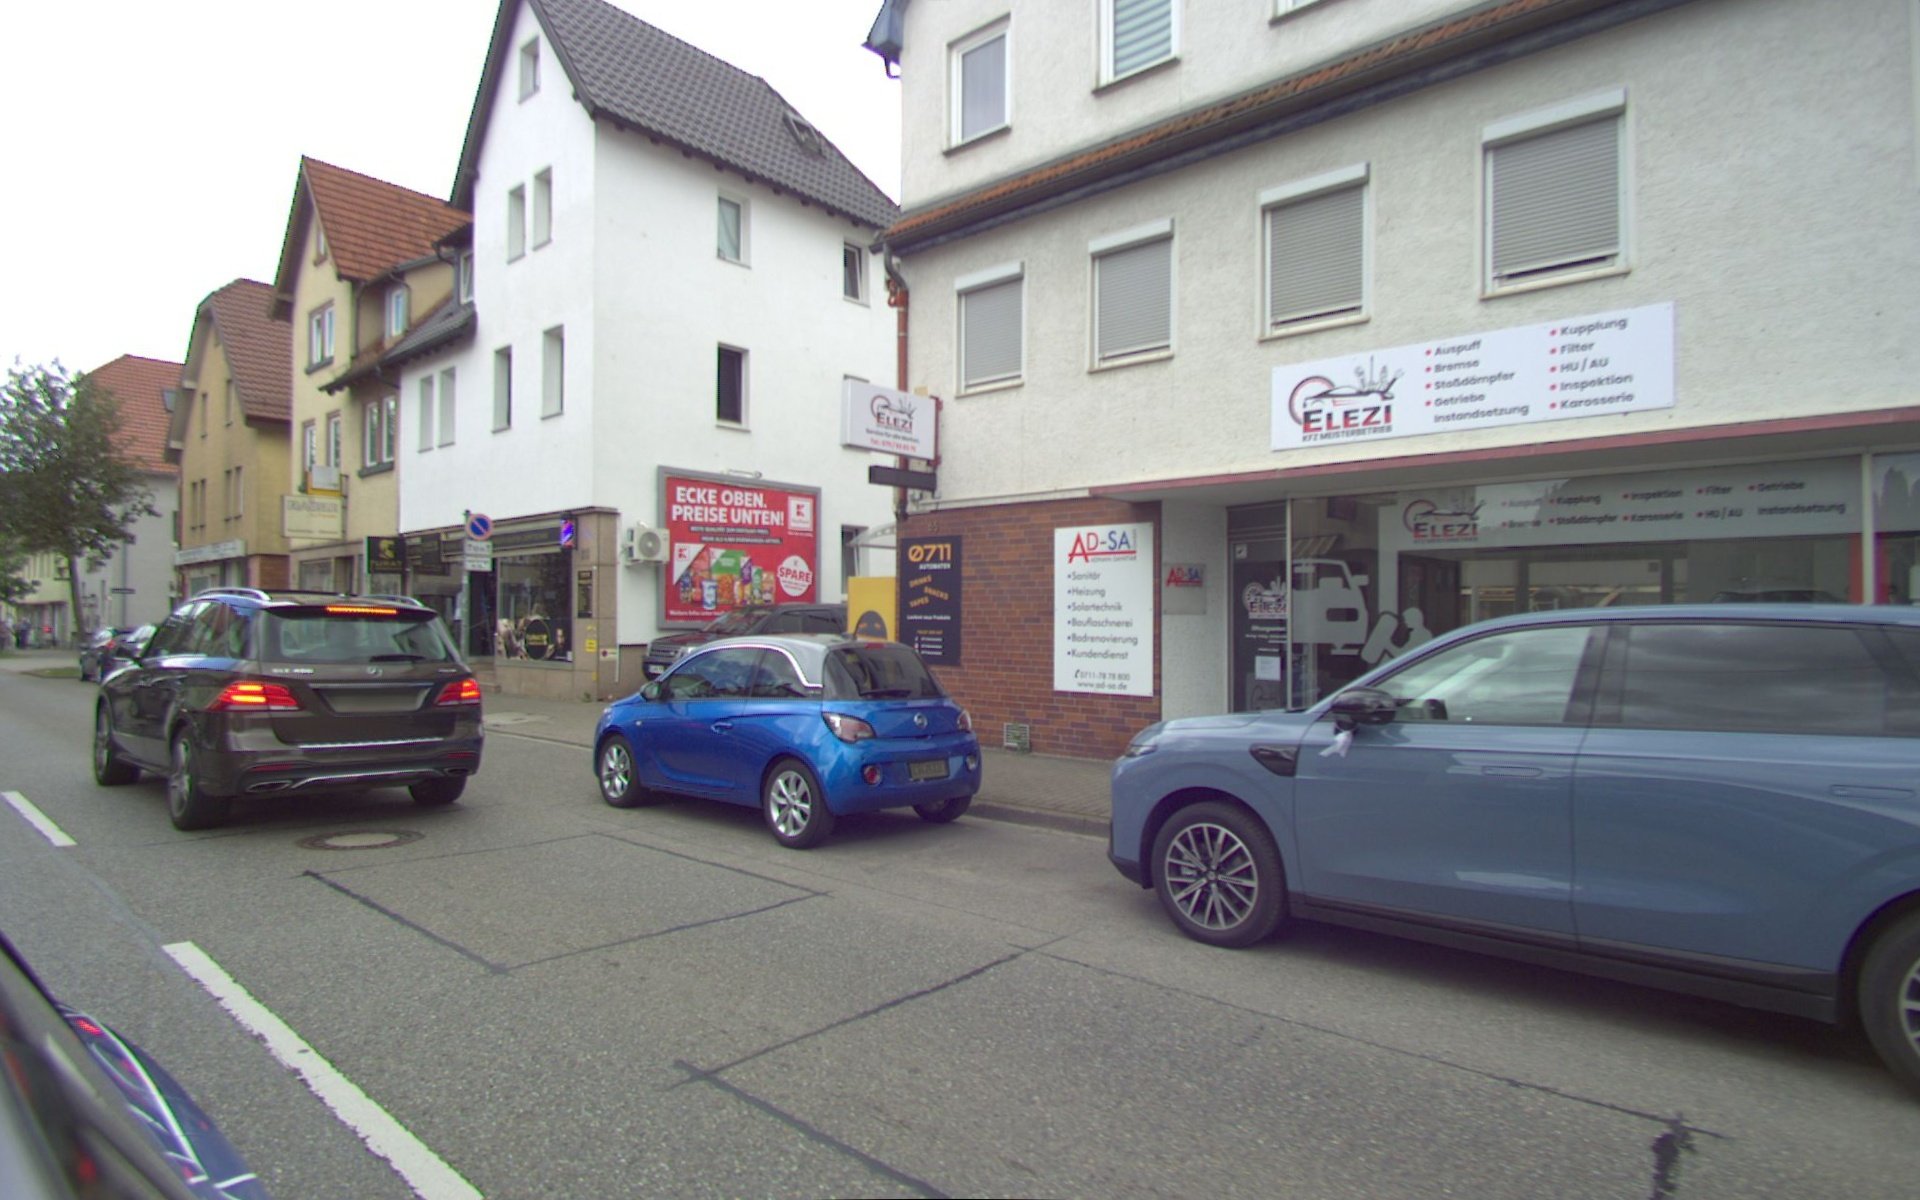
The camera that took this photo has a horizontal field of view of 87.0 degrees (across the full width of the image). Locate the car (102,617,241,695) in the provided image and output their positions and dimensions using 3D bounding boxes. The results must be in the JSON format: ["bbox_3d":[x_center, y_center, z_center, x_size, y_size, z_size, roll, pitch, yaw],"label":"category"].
[{"bbox_3d":[-17.518,1.189,22.416,4.112,1.578,1.691,-1,-3,42],"label":"car"}]

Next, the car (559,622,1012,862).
[{"bbox_3d":[-1.567,0.956,8.298,3.774,1.511,1.664,-1,-3,42],"label":"car"}]

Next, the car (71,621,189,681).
[{"bbox_3d":[-21.510,1.288,26.177,3.928,1.435,1.665,-1,-3,40],"label":"car"}]

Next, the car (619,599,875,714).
[{"bbox_3d":[-3.537,0.853,17.338,1.998,1.715,3.948,-1,-1,38],"label":"car"}]

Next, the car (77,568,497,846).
[{"bbox_3d":[-5.836,0.740,8.557,4.364,1.751,1.880,-1,-3,42],"label":"car"}]

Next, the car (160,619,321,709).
[{"bbox_3d":[-13.483,1.137,18.906,3.590,1.504,1.664,-1,-3,42],"label":"car"}]

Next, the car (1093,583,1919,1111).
[{"bbox_3d":[2.864,0.801,4.406,4.304,1.611,1.783,-1,-3,43],"label":"car"}]
